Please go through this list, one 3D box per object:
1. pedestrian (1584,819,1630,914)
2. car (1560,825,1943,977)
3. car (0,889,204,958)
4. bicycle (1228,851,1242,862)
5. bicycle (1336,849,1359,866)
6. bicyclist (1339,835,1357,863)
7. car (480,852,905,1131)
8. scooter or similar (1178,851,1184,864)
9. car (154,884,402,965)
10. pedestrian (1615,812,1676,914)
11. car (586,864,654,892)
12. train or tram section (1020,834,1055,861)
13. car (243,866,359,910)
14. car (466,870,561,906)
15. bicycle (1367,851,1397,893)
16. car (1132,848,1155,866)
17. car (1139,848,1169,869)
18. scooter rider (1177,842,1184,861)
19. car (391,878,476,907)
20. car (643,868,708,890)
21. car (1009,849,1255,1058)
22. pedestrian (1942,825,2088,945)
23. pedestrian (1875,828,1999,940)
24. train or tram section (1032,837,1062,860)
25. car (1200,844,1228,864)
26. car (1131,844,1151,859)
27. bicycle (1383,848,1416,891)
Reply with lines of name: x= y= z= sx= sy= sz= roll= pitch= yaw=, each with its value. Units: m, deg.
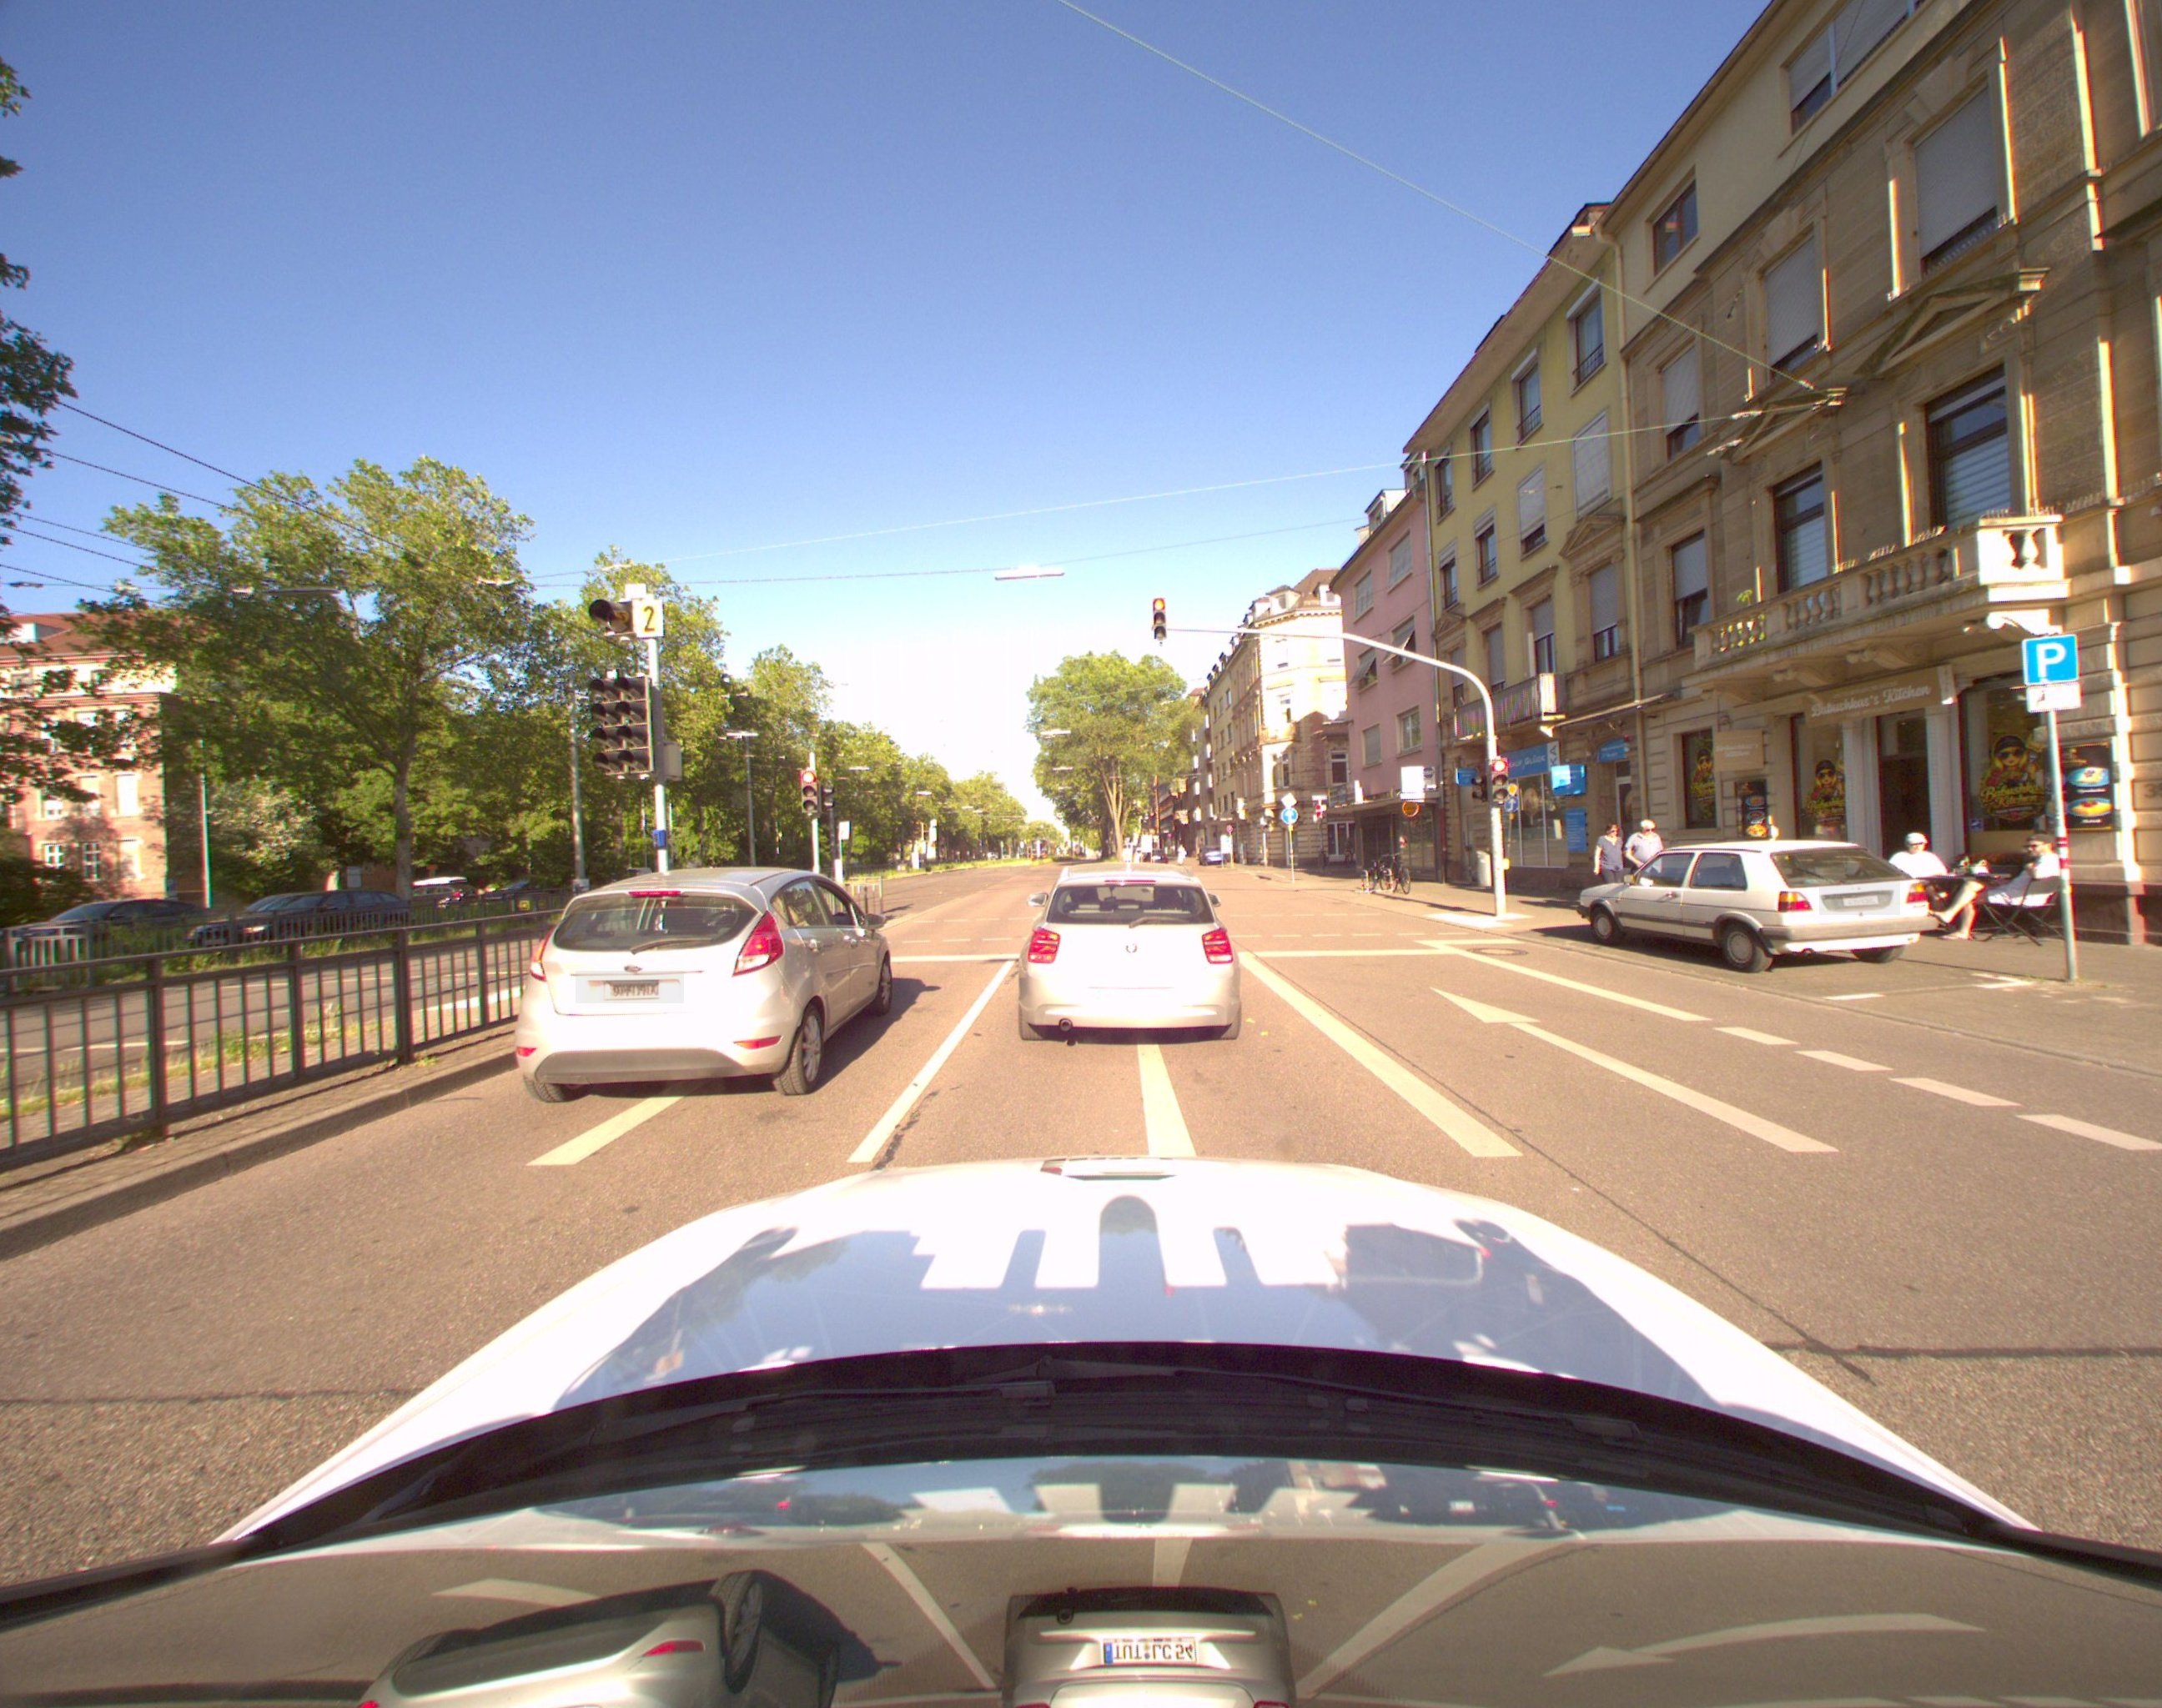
pedestrian: x=9.721 y=0.232 z=15.055 sx=0.547 sy=1.708 sz=0.389 roll=-2 pitch=0 yaw=4
car: x=8.068 y=0.465 z=10.371 sx=1.557 sy=1.415 sz=4.005 roll=-6 pitch=0 yaw=2
car: x=-27.829 y=1.886 z=22.932 sx=1.664 sy=1.509 sz=4.145 roll=-2 pitch=1 yaw=0
bicycle: x=12.188 y=0.192 z=64.396 sx=0.752 sy=0.770 sz=1.945 roll=-2 pitch=0 yaw=0
bicycle: x=14.877 y=0.199 z=45.467 sx=0.646 sy=0.903 sz=1.346 roll=-2 pitch=0 yaw=43
bicyclist: x=14.931 y=-0.284 z=45.495 sx=0.541 sy=1.502 sz=0.967 roll=-2 pitch=0 yaw=43
car: x=-2.575 y=0.757 z=6.490 sx=1.605 sy=1.467 sz=3.886 roll=-2 pitch=0 yaw=-3
scooter or similar: x=7.963 y=0.309 z=64.858 sx=0.335 sy=0.988 sz=1.288 roll=-2 pitch=0 yaw=10
car: x=-19.035 y=1.593 z=19.655 sx=1.679 sy=1.498 sz=4.341 roll=-2 pitch=0 yaw=-1
pedestrian: x=10.298 y=0.160 z=14.869 sx=0.670 sy=1.806 sz=0.531 roll=-3 pitch=0 yaw=1
car: x=-27.783 y=1.431 z=49.240 sx=1.664 sy=1.509 sz=4.145 roll=-2 pitch=0 yaw=0
train or tram section: x=-6.748 y=-1.059 z=130.939 sx=3.954 sy=3.865 sz=17.496 roll=-2 pitch=0 yaw=2
car: x=-40.370 y=1.732 z=42.302 sx=1.986 sy=2.013 sz=4.002 roll=-2 pitch=0 yaw=2
car: x=-27.833 y=1.621 z=40.113 sx=1.664 sy=1.509 sz=4.145 roll=-2 pitch=0 yaw=0
bicycle: x=8.671 y=0.510 z=23.510 sx=0.411 sy=1.140 sz=1.814 roll=-2 pitch=0 yaw=8
car: x=5.286 y=0.227 z=69.231 sx=1.719 sy=1.507 sz=3.555 roll=-1 pitch=0 yaw=0
car: x=5.209 y=0.270 z=58.450 sx=1.730 sy=1.433 sz=3.676 roll=-1 pitch=0 yaw=-1
scooter rider: x=7.931 y=-0.194 z=64.875 sx=0.462 sy=1.505 sz=0.813 roll=-2 pitch=0 yaw=10
car: x=-37.865 y=2.237 z=47.653 sx=3.968 sy=1.494 sz=1.396 roll=-2 pitch=0 yaw=5
car: x=-27.467 y=1.684 z=55.311 sx=1.929 sy=1.349 sz=4.849 roll=-2 pitch=-1 yaw=0
car: x=0.422 y=0.697 z=7.788 sx=1.733 sy=1.467 sz=4.002 roll=-1 pitch=0 yaw=2
pedestrian: x=10.856 y=0.345 z=9.488 sx=0.899 sy=1.281 sz=0.655 roll=-5 pitch=0 yaw=-4
pedestrian: x=10.645 y=0.358 z=10.152 sx=0.795 sy=1.281 sz=0.608 roll=-6 pitch=0 yaw=-1
train or tram section: x=-6.114 y=-0.966 z=148.454 sx=3.990 sy=3.865 sz=17.496 roll=-2 pitch=0 yaw=2
car: x=10.428 y=0.002 z=64.037 sx=1.729 sy=1.519 sz=3.637 roll=-1 pitch=0 yaw=1
car: x=6.050 y=-0.240 z=82.465 sx=1.719 sy=1.507 sz=3.555 roll=-1 pitch=0 yaw=0
bicycle: x=9.166 y=0.431 z=23.494 sx=0.446 sy=1.159 sz=1.762 roll=-2 pitch=0 yaw=8
